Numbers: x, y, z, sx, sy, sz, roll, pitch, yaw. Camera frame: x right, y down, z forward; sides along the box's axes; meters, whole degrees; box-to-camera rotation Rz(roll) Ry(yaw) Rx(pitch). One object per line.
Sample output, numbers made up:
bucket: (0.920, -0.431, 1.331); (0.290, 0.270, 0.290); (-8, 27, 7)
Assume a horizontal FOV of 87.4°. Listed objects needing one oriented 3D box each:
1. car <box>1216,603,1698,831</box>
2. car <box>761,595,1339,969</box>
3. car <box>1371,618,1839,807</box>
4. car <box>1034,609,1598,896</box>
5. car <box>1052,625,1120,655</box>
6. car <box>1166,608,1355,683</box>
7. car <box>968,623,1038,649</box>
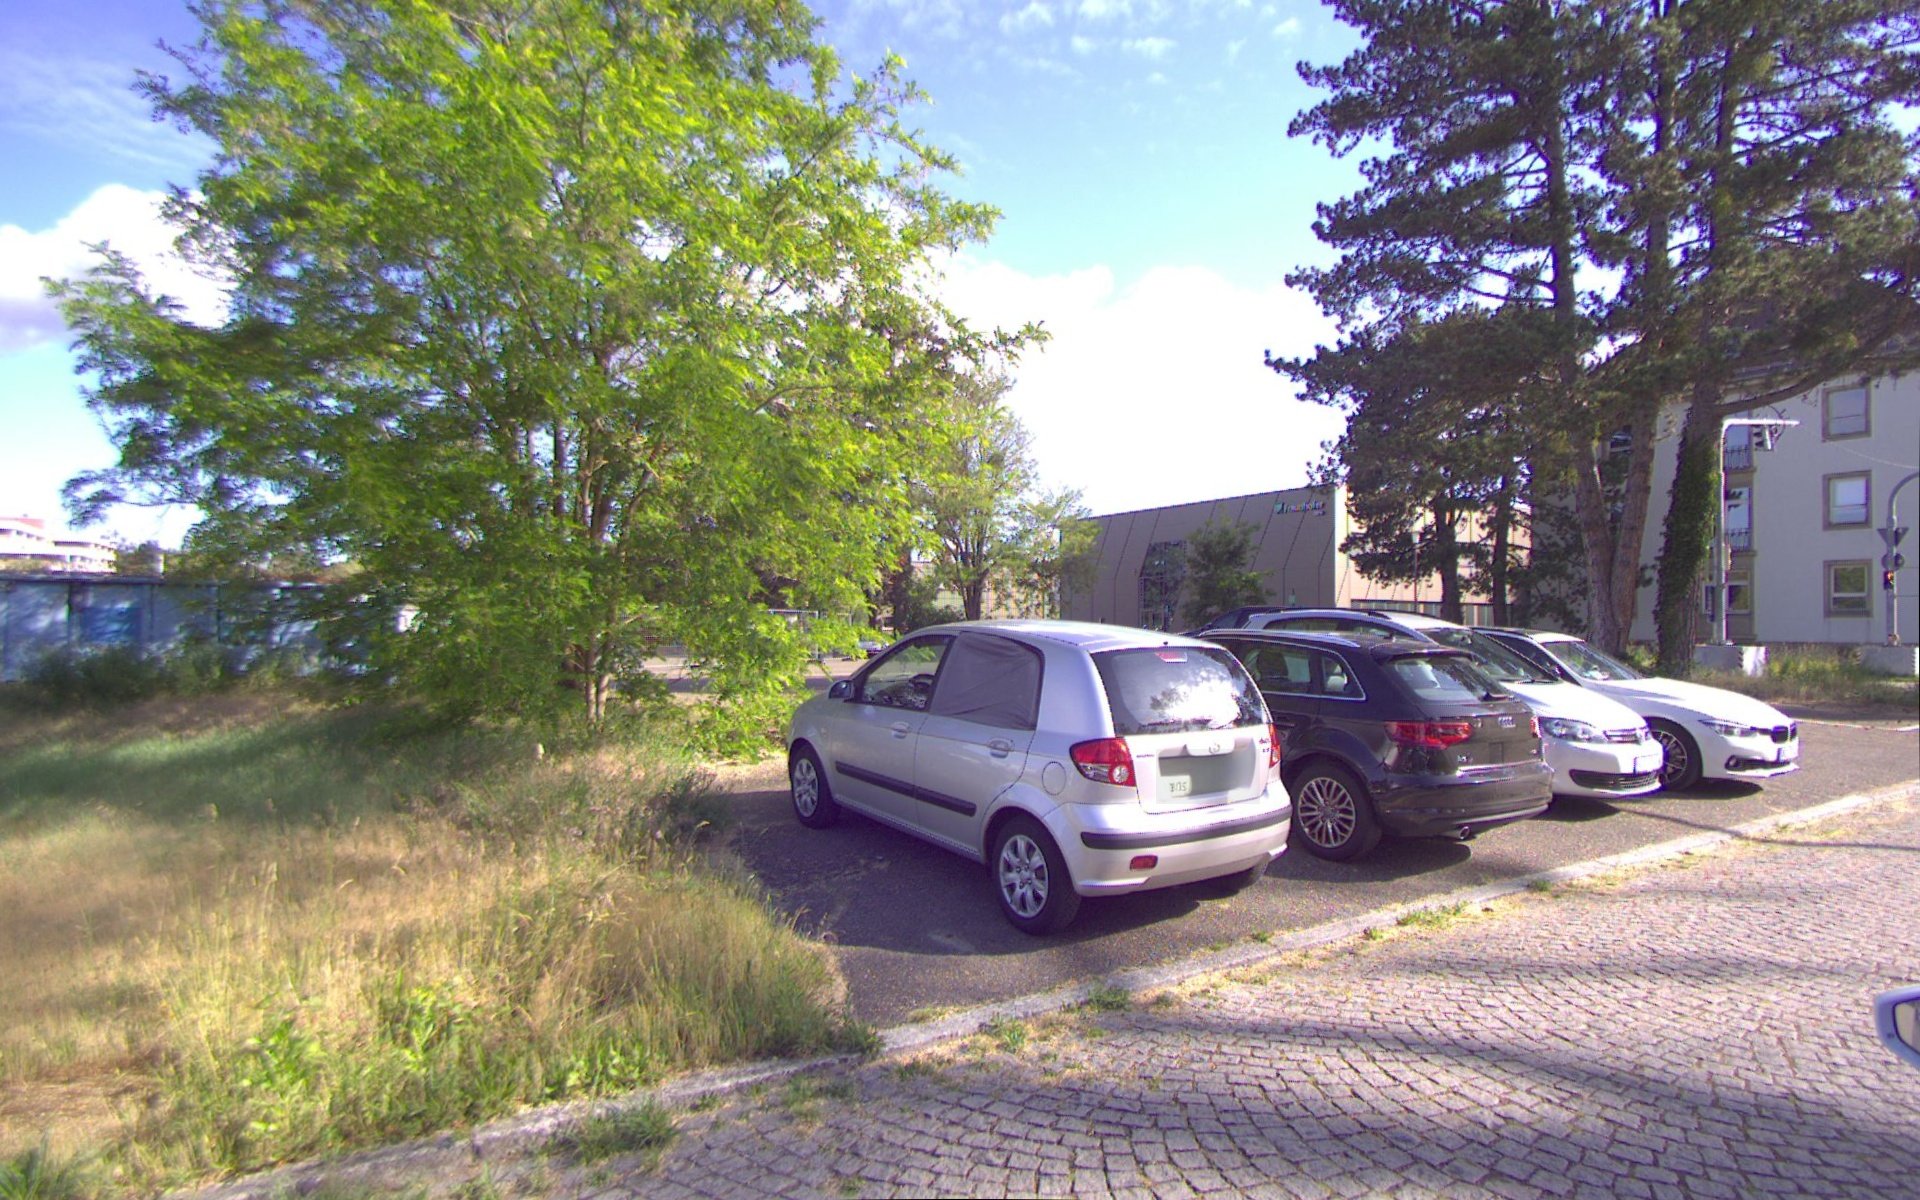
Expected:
car: (4.519, 0.906, 9.706); (1.643, 1.637, 3.856); (1, 1, -33)
car: (0.272, 0.802, 6.361); (1.682, 1.548, 3.662); (1, 1, -34)
car: (6.752, 1.036, 11.010); (1.750, 1.516, 3.971); (1, 1, -27)
car: (2.446, 0.904, 7.847); (1.673, 1.464, 3.914); (1, 2, -33)
car: (7.842, 2.496, 62.431); (3.955, 1.802, 1.856); (1, -2, -30)
car: (7.099, 1.052, 24.146); (1.987, 1.630, 4.123); (1, -2, -31)
car: (3.021, 2.523, 70.221); (4.505, 1.725, 1.984); (1, -2, -30)
